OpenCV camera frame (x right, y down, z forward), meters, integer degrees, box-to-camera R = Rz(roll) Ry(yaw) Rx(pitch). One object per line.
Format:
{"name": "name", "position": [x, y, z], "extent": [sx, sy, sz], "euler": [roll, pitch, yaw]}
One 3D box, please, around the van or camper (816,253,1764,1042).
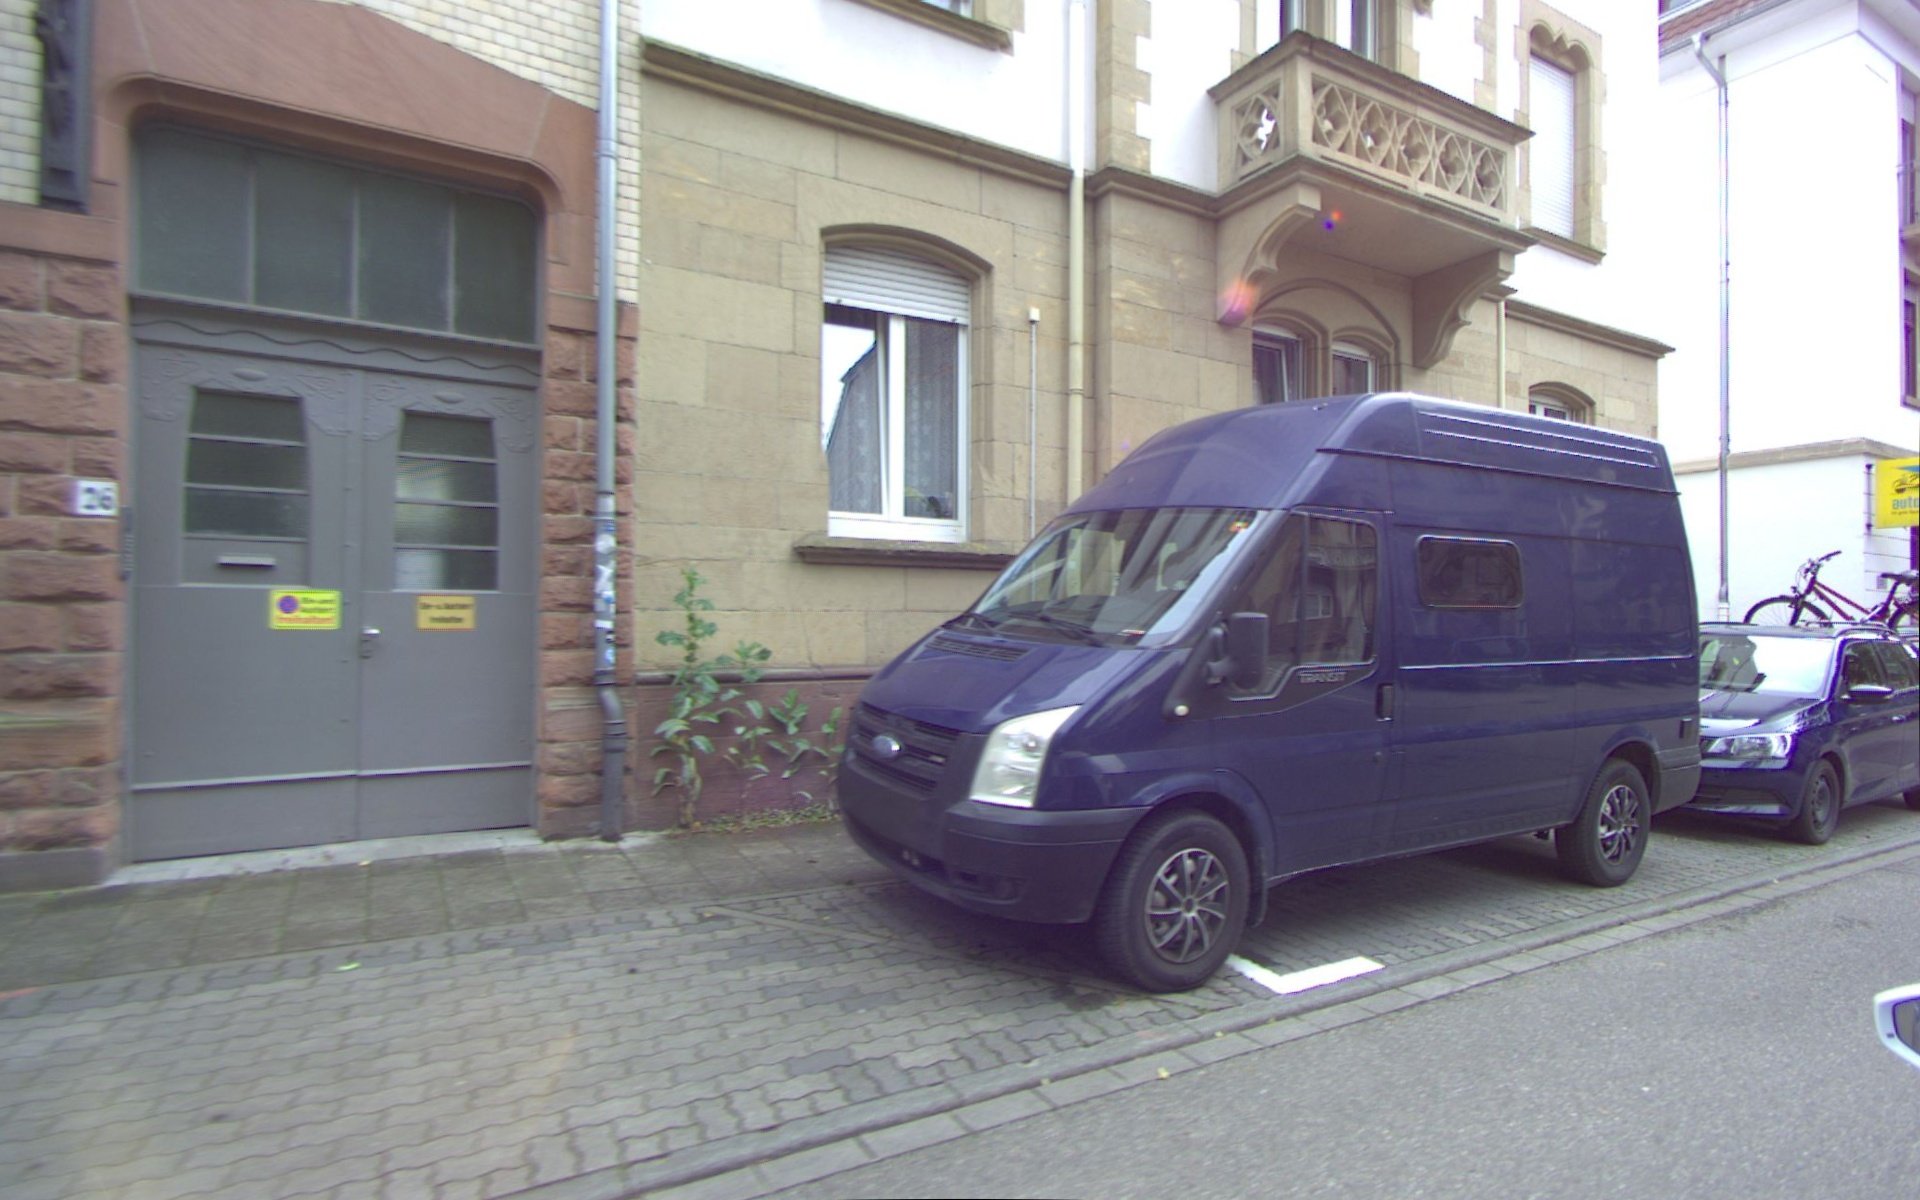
{"name": "van or camper", "position": [2.054, 0.188, 5.625], "extent": [5.254, 2.687, 1.998], "euler": [1, 2, -31]}

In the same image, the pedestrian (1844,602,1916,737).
{"name": "pedestrian", "position": [12.497, 0.926, 13.647], "extent": [0.649, 1.763, 0.542], "euler": [1, 1, -32]}

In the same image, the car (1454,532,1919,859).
{"name": "car", "position": [6.508, 0.654, 8.378], "extent": [4.834, 2.040, 1.984], "euler": [1, -1, -31]}
